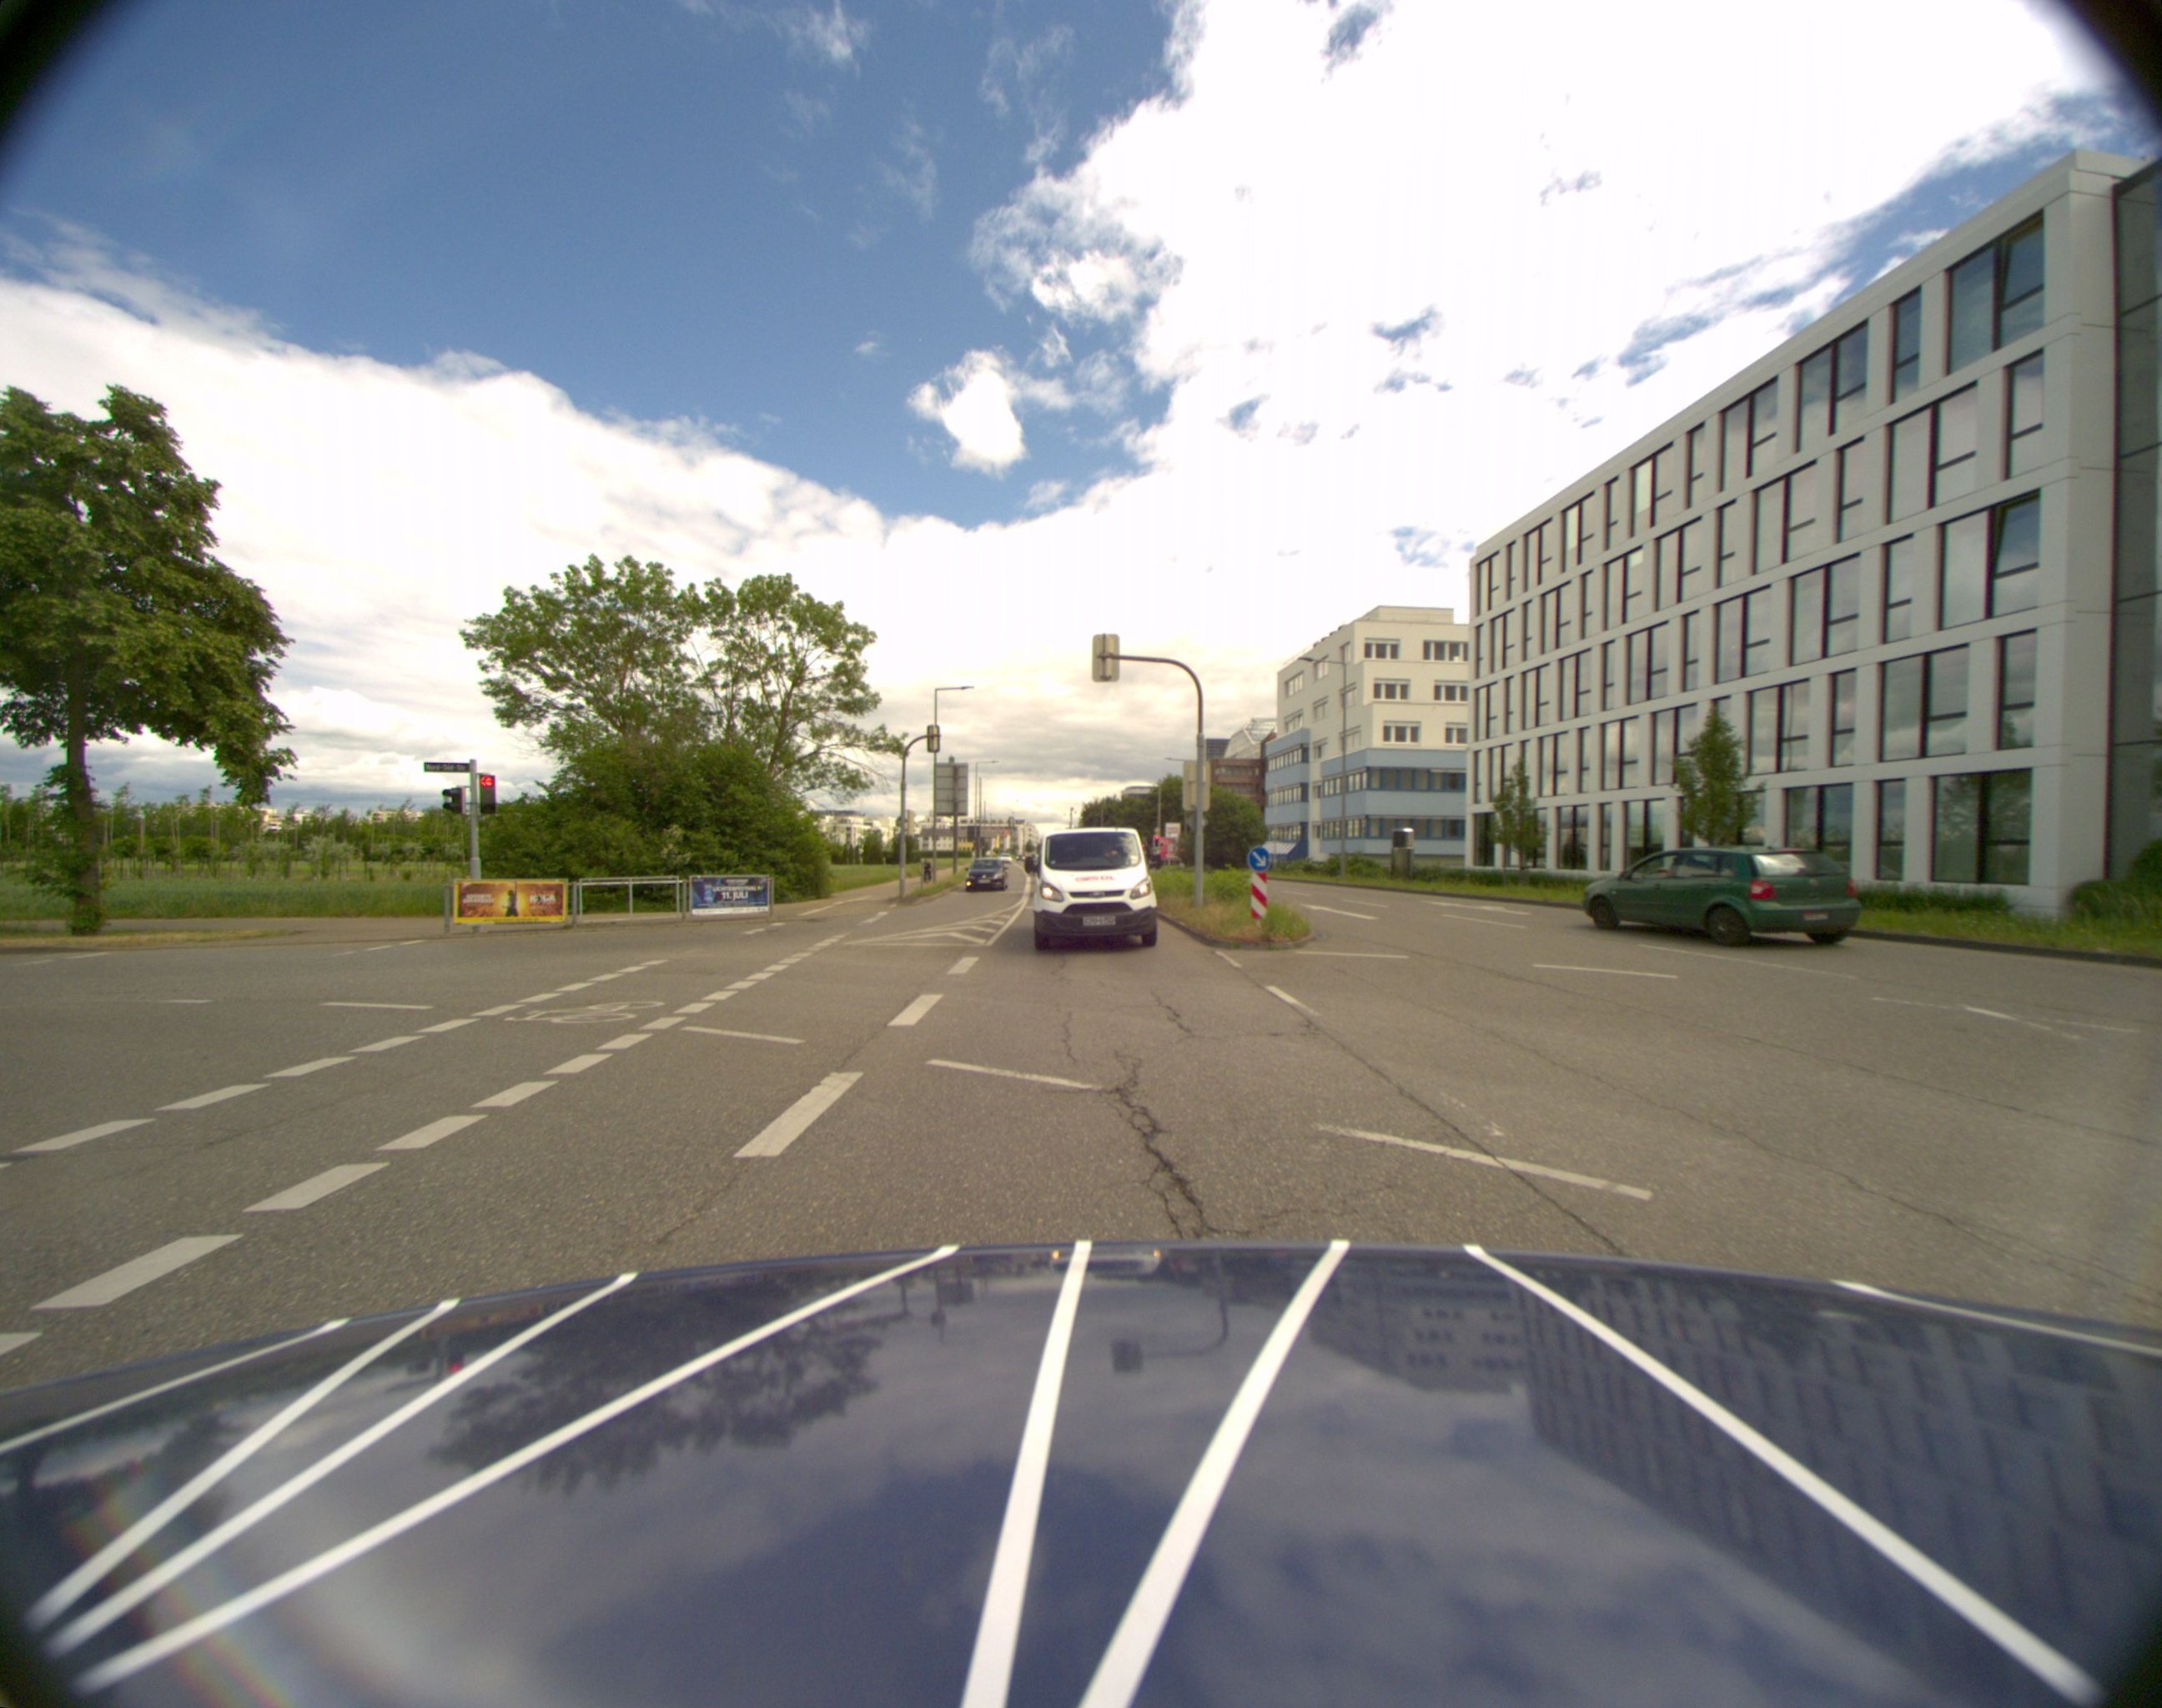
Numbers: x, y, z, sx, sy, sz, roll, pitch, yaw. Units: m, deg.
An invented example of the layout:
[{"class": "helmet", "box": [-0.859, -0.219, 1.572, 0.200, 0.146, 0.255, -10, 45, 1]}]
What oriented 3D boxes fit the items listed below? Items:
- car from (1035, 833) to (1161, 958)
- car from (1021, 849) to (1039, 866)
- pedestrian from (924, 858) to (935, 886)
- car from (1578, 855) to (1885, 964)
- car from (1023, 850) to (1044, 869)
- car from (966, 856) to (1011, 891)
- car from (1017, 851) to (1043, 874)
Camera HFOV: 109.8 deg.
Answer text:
[{"class": "car", "box": [0.128, 0.639, 14.547, 1.968, 1.938, 5.053, -1, 0, -3]}, {"class": "car", "box": [-4.957, 0.363, 73.770, 1.628, 1.528, 3.428, -2, 1, -6]}, {"class": "pedestrian", "box": [-9.419, 1.122, 47.264, 0.492, 1.693, 0.625, -2, 1, -5]}, {"class": "car", "box": [10.054, 0.757, 12.176, 1.610, 1.424, 3.752, -2, 0, -2]}, {"class": "car", "box": [-4.183, 0.450, 66.602, 1.628, 1.528, 3.428, -2, 1, -6]}, {"class": "car", "box": [-4.035, 0.831, 33.610, 1.683, 1.410, 3.738, -1, 1, -3]}, {"class": "car", "box": [-3.636, 0.593, 53.860, 1.653, 1.528, 3.428, -2, 1, -6]}]
